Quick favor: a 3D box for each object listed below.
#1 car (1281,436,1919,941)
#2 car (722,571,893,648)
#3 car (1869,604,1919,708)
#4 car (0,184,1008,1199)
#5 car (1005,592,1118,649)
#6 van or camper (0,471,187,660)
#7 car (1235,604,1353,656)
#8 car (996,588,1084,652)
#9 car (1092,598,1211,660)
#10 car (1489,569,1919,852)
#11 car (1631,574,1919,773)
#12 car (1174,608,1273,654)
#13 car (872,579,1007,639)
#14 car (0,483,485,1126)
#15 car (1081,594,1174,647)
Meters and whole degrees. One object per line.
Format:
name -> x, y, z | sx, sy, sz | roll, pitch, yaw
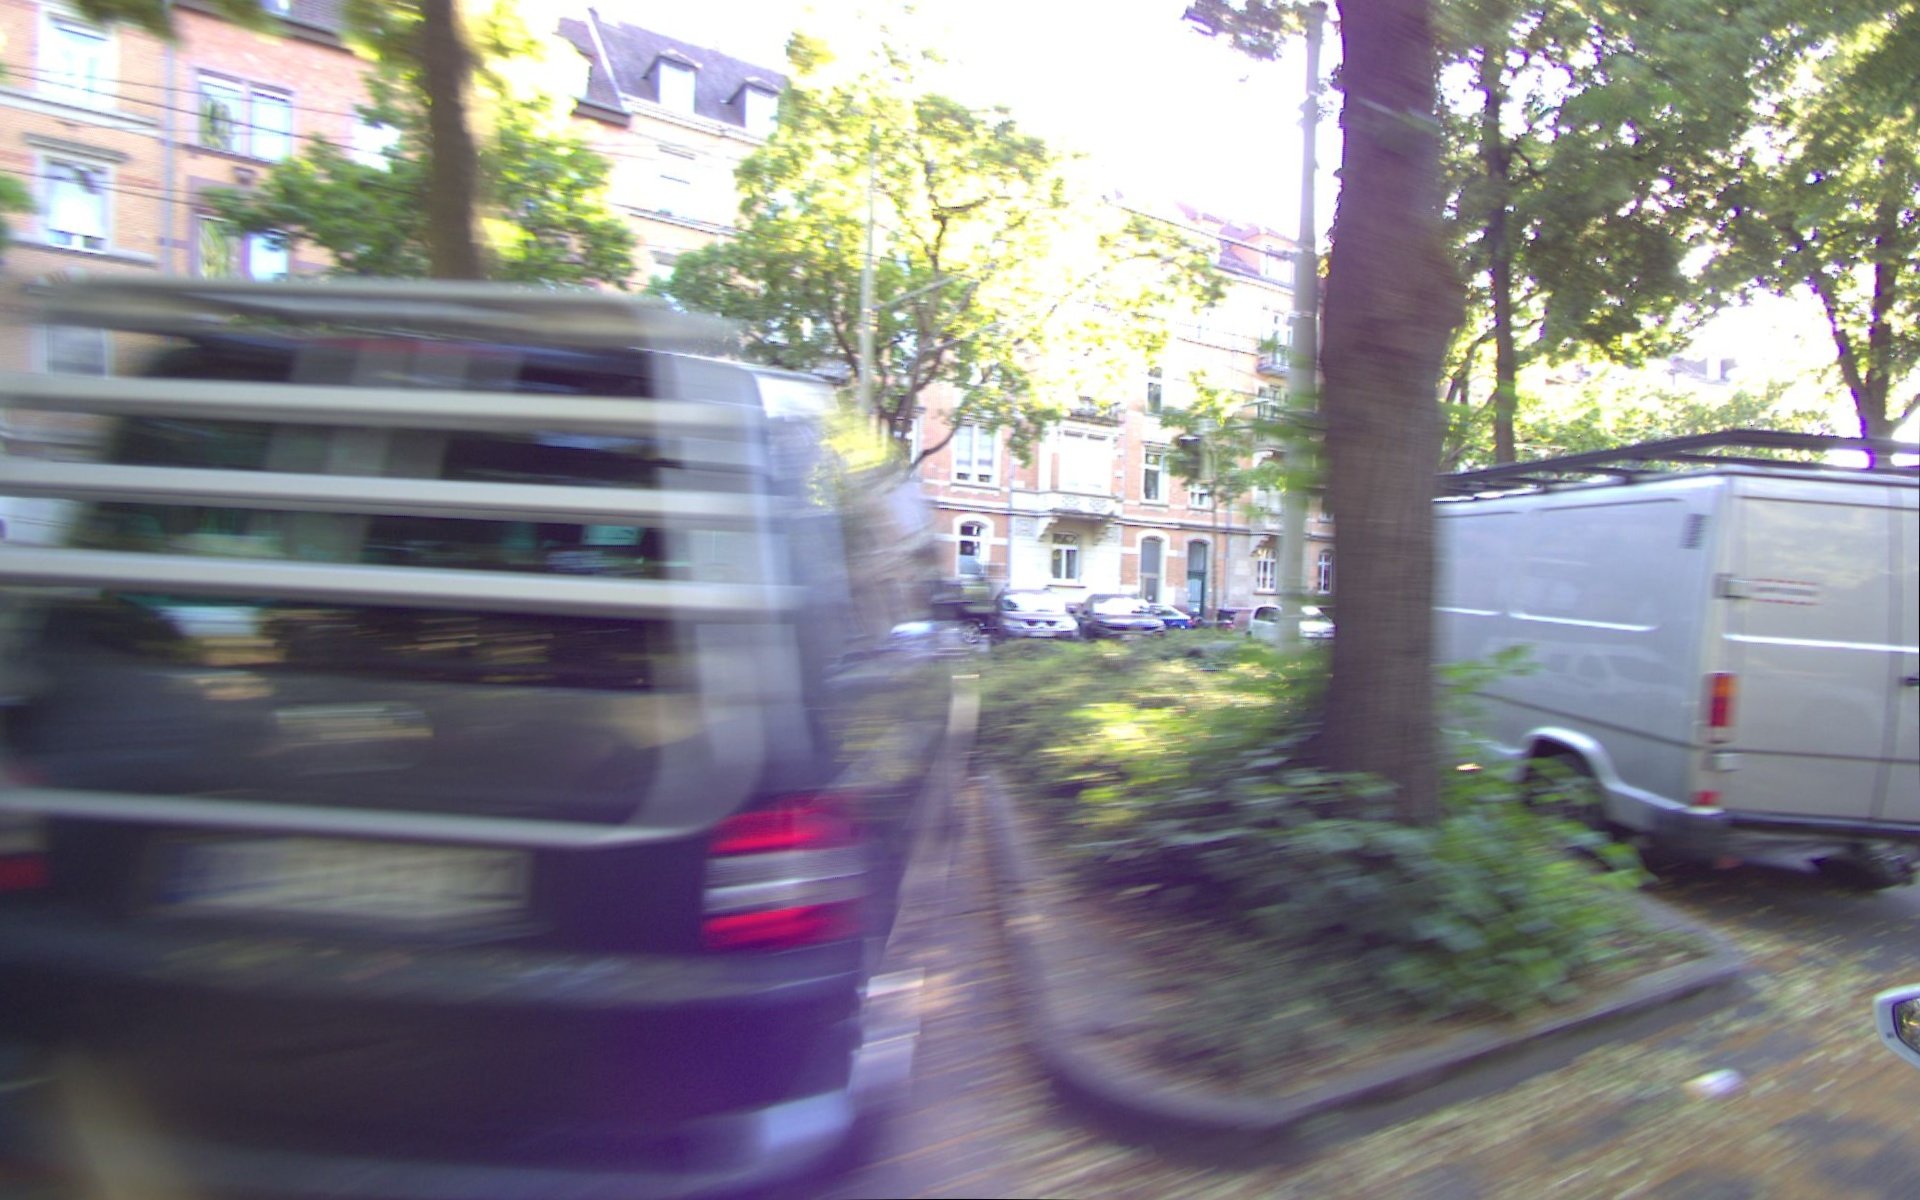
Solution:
car -> 4.269, 0.293, 7.158 | 2.040, 2.166, 5.512 | 3, 3, -1
car -> -4.465, 0.249, 29.637 | 4.609, 2.032, 1.840 | 0, 4, -33
car -> 14.576, 0.915, 13.348 | 1.798, 1.445, 3.427 | 3, 3, 1
car -> -0.828, 0.308, 3.808 | 1.896, 1.969, 4.713 | 3, 3, 3
car -> 3.548, 0.690, 35.032 | 3.470, 1.807, 1.840 | 0, 4, -33
van or camper -> -13.788, -0.475, 14.082 | 1.962, 2.501, 5.672 | 1, 0, -6
car -> 9.694, 0.824, 29.466 | 1.565, 1.335, 3.992 | 2, 0, -10
car -> 1.786, 0.420, 23.682 | 1.604, 1.327, 4.188 | 2, 0, -2
car -> 7.089, 1.038, 37.105 | 3.956, 2.041, 1.982 | 0, 4, -33
car -> 6.701, 0.672, 8.255 | 1.898, 1.638, 4.514 | 3, 3, -6
car -> 9.338, 0.668, 10.246 | 1.818, 1.638, 4.518 | 3, 3, 0
car -> 10.371, 1.182, 39.458 | 3.470, 1.604, 1.840 | 0, 4, -33
car -> -0.622, 0.333, 32.253 | 3.980, 1.806, 1.840 | 1, -2, -33
car -> -3.248, 0.450, 2.340 | 1.896, 1.561, 4.571 | 3, 3, 3
car -> 4.164, 0.474, 25.496 | 1.470, 1.183, 4.203 | 2, 0, -2
